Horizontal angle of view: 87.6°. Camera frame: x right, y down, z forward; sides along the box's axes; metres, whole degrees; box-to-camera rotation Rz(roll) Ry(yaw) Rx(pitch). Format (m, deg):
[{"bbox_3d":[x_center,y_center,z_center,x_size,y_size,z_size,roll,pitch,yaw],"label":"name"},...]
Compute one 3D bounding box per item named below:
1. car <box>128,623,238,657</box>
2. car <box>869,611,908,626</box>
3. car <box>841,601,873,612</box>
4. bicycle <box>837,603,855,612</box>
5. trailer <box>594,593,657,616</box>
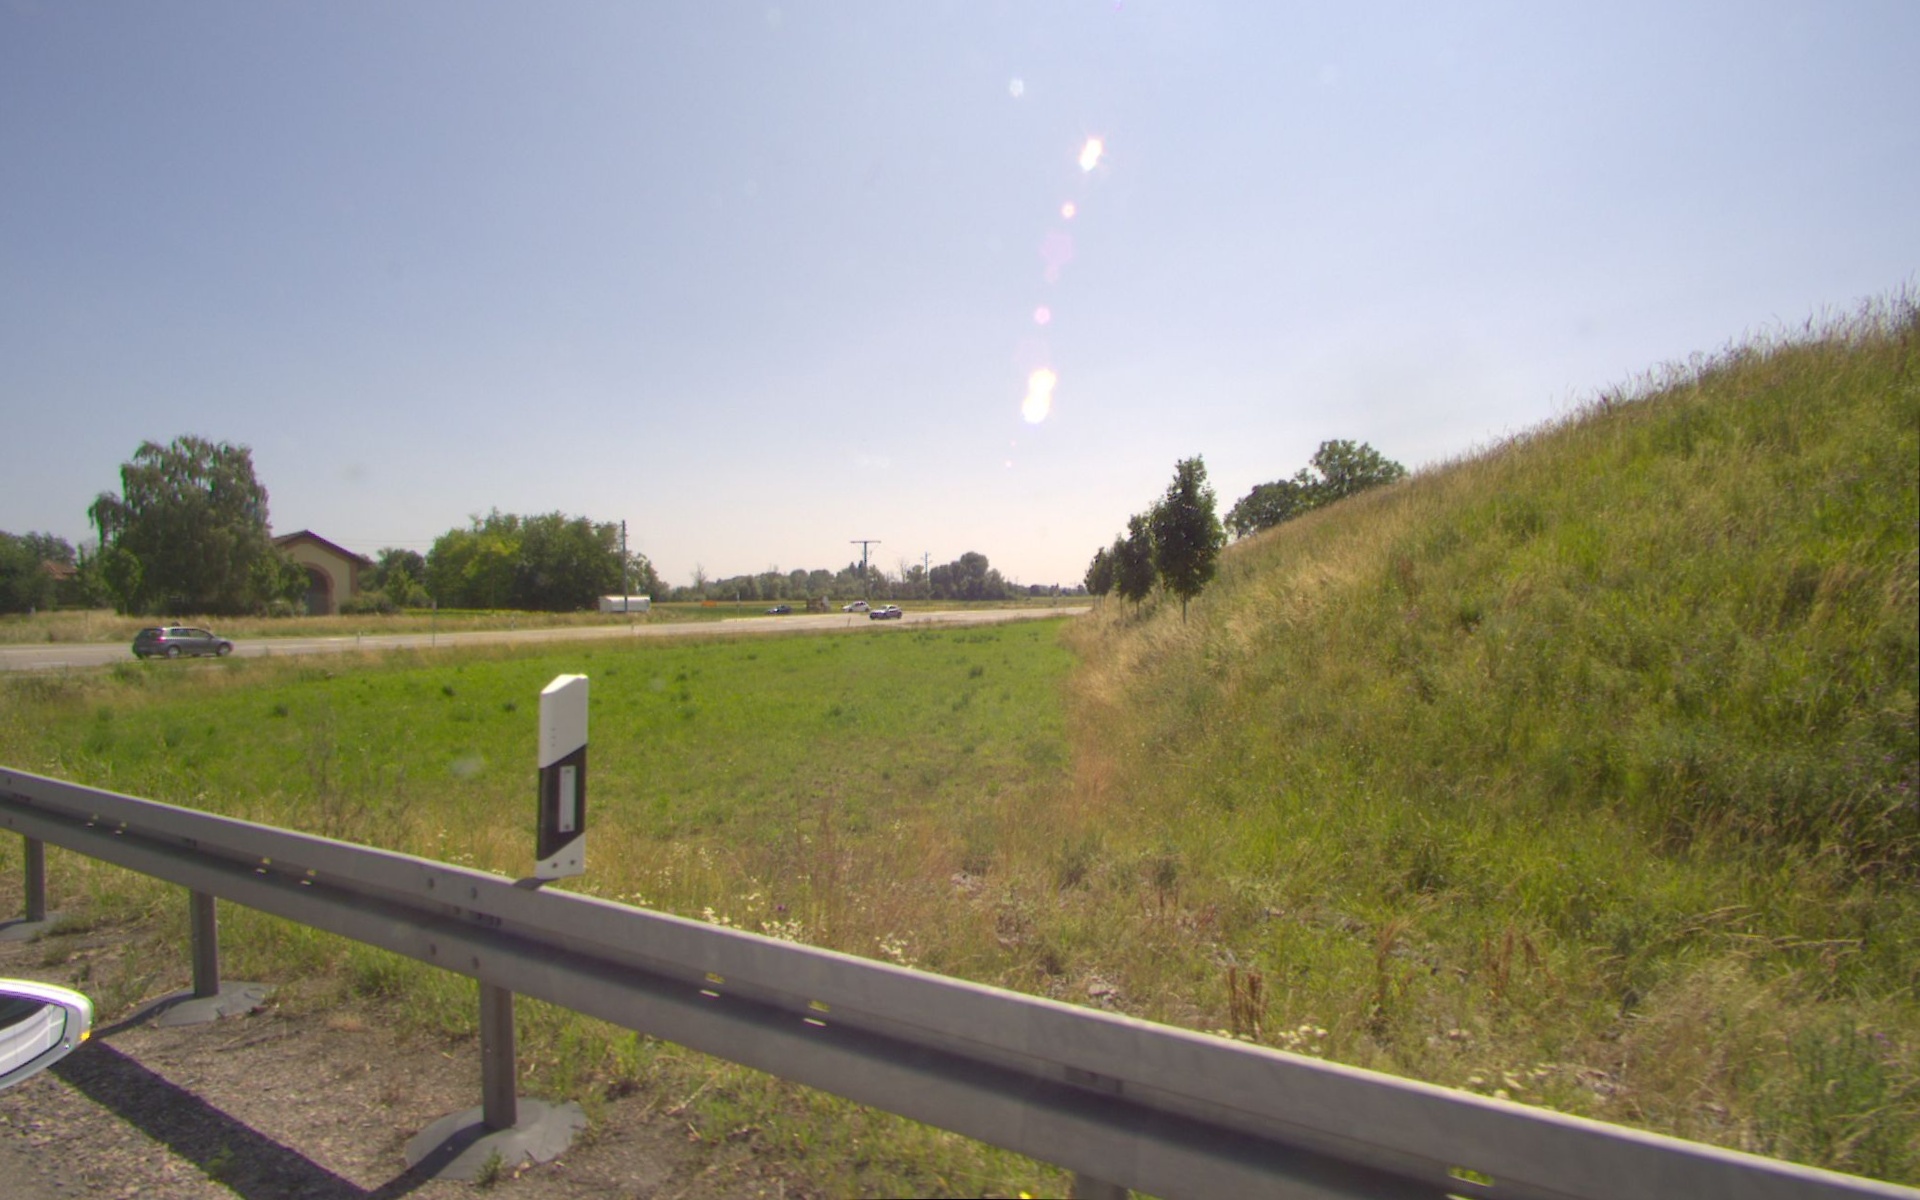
[{"bbox_3d":[-36.185,1.835,46.772,1.771,1.541,3.882,0,-1,10],"label":"car"},{"bbox_3d":[-7.757,2.000,108.969,1.846,1.565,4.523,1,1,34],"label":"car"},{"bbox_3d":[-14.024,0.862,136.678,3.971,1.350,1.691,1,1,-22],"label":"car"},{"bbox_3d":[-17.239,1.140,150.926,2.572,1.389,0.900,-1,-2,22],"label":"bicycle"},{"bbox_3d":[-37.549,0.477,112.511,2.651,2.489,6.340,1,2,36],"label":"trailer"}]
